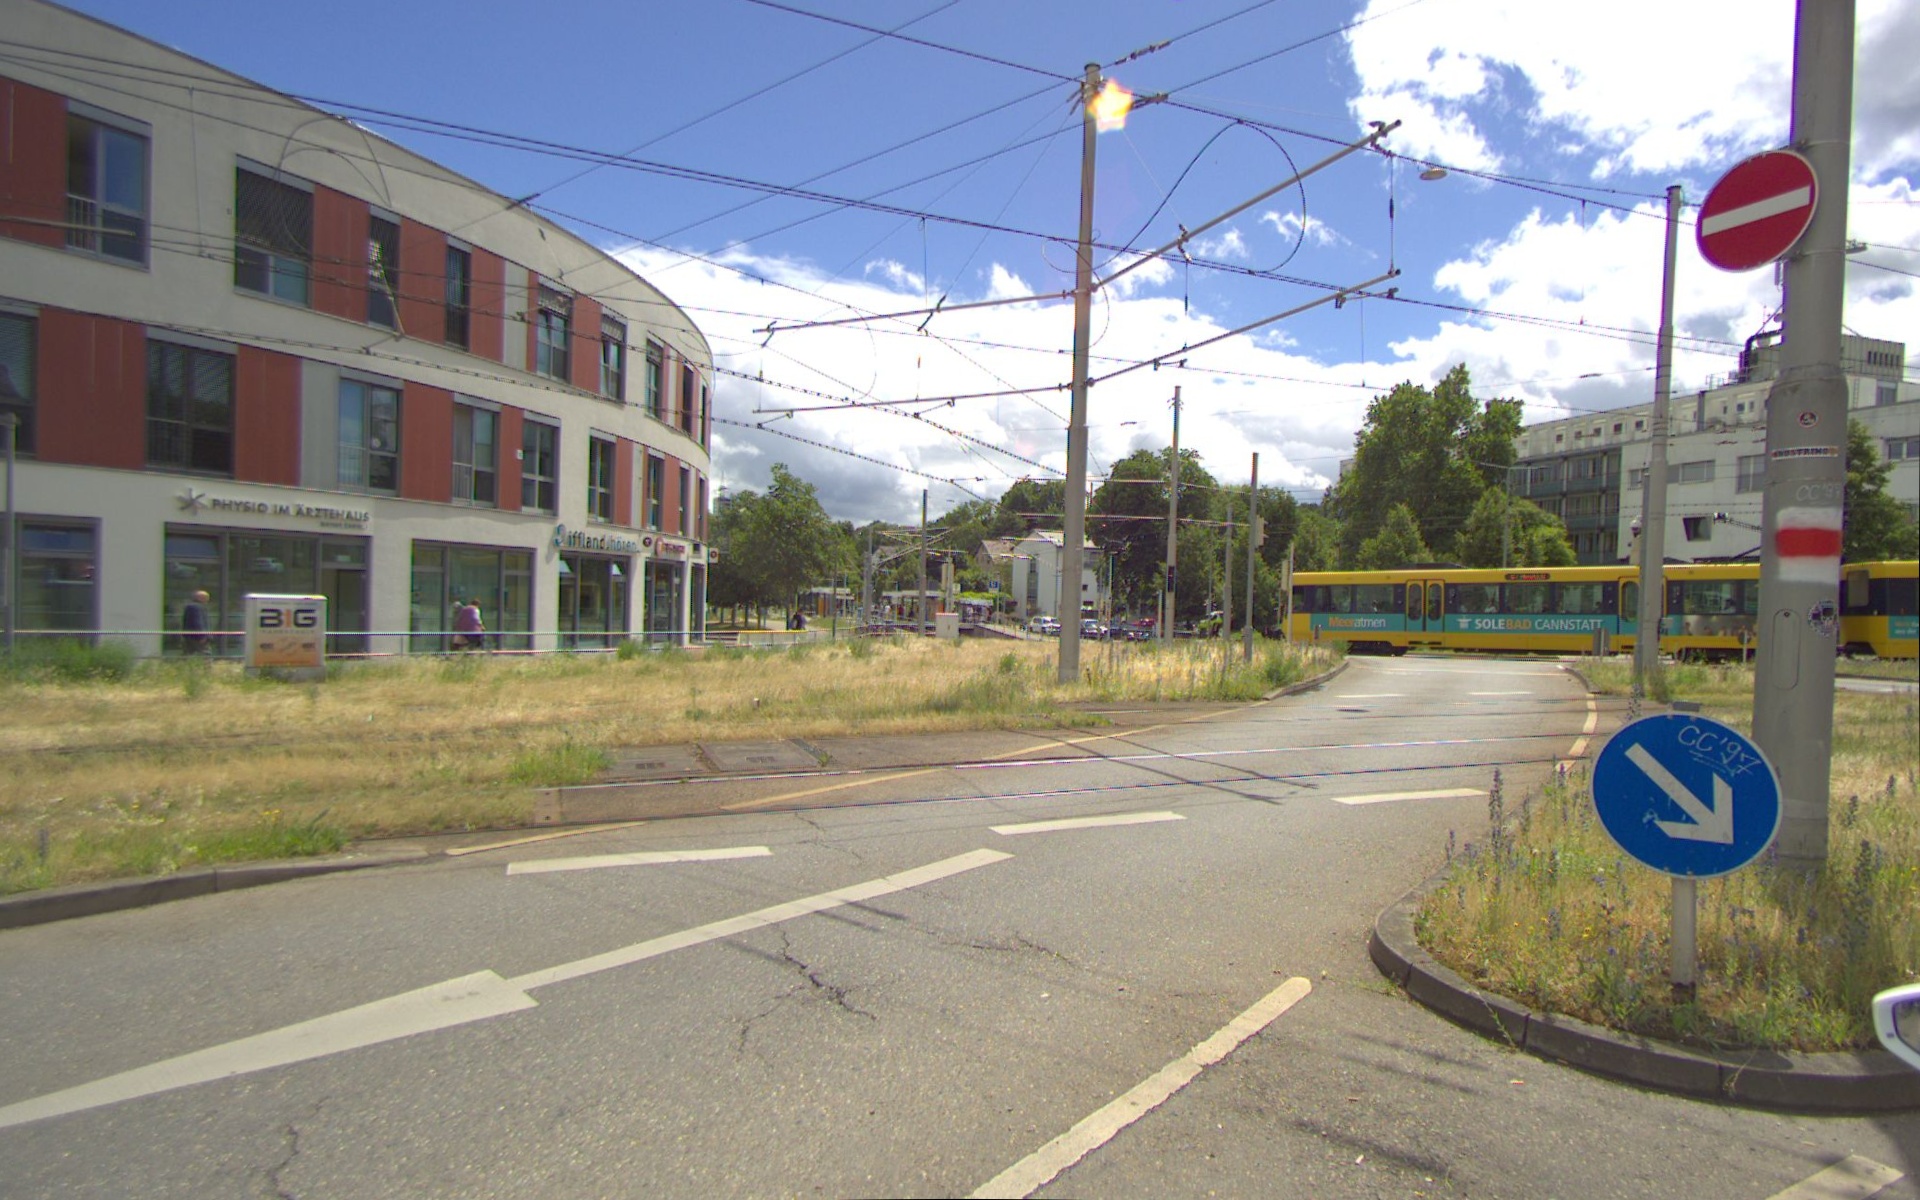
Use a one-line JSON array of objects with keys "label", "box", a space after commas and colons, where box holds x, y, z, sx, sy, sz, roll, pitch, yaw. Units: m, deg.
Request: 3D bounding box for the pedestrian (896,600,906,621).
[{"label": "pedestrian", "box": [-5.862, 1.035, 99.807, 0.807, 2.040, 0.771, 2, -1, -15]}]

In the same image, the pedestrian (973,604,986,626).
[{"label": "pedestrian", "box": [1.597, 1.226, 81.085, 0.824, 1.755, 0.795, 1, 0, -16]}]

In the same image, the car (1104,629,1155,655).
[{"label": "car", "box": [12.466, 3.067, 74.077, 1.991, 1.814, 4.222, 2, -1, -18]}]

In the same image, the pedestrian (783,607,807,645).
[{"label": "pedestrian", "box": [-7.382, 1.174, 45.006, 0.847, 1.646, 0.733, 1, -1, 7]}]

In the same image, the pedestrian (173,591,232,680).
[{"label": "pedestrian", "box": [-14.125, 0.651, 18.737, 0.723, 1.601, 0.689, 0, -1, 37]}]

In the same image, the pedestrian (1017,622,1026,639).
[{"label": "pedestrian", "box": [7.251, 3.555, 117.775, 0.818, 1.891, 0.817, 1, 0, -16]}]

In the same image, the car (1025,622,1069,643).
[{"label": "car", "box": [6.912, 2.588, 80.393, 1.908, 1.575, 4.474, 2, -2, -18]}]

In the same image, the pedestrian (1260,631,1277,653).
[{"label": "pedestrian", "box": [23.110, 3.170, 75.275, 0.830, 1.597, 0.811, 1, 0, -24]}]

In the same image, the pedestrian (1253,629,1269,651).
[{"label": "pedestrian", "box": [22.486, 2.971, 75.038, 0.830, 1.597, 0.811, 1, 0, -24]}]

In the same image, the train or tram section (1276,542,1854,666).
[{"label": "train or tram section", "box": [22.151, 0.158, 39.114, 18.588, 3.970, 3.749, 0, -2, 36]}]

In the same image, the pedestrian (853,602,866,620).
[{"label": "pedestrian", "box": [-11.824, 1.289, 117.996, 1.241, 2.040, 1.121, 2, -1, -19]}]

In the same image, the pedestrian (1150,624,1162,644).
[{"label": "pedestrian", "box": [18.272, 3.156, 93.585, 0.818, 1.891, 0.817, 1, 0, -16]}]

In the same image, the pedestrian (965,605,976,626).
[{"label": "pedestrian", "box": [0.844, 1.272, 82.527, 0.744, 1.707, 0.671, 1, 0, -16]}]

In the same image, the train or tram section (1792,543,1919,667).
[{"label": "train or tram section", "box": [38.497, 0.349, 31.199, 19.742, 3.880, 3.764, 1, -1, 15]}]

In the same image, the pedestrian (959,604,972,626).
[{"label": "pedestrian", "box": [0.425, 1.206, 81.796, 0.824, 1.777, 0.795, 1, 0, -16]}]

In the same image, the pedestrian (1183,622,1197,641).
[{"label": "pedestrian", "box": [19.457, 2.643, 84.991, 0.830, 1.597, 0.811, 1, 0, -24]}]

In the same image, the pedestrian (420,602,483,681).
[{"label": "pedestrian", "box": [-13.216, 1.080, 26.123, 0.849, 1.994, 1.114, 1, -1, 29]}]

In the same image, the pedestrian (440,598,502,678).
[{"label": "pedestrian", "box": [-12.515, 0.975, 25.723, 0.849, 1.994, 1.104, 1, -1, 30]}]

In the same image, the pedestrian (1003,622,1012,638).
[{"label": "pedestrian", "box": [5.550, 3.497, 117.226, 0.818, 1.891, 0.817, 1, 0, -16]}]

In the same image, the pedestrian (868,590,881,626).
[{"label": "pedestrian", "box": [-14.738, 1.377, 173.267, 1.964, 5.998, 2.368, 1, -1, -9]}]

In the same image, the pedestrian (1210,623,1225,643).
[{"label": "pedestrian", "box": [21.298, 2.711, 83.013, 0.830, 1.597, 0.811, 1, 0, -24]}]

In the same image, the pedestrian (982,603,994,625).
[{"label": "pedestrian", "box": [2.205, 1.121, 79.714, 0.824, 1.714, 0.616, 1, 0, -16]}]

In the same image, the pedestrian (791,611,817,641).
[{"label": "pedestrian", "box": [-8.567, 1.426, 55.191, 1.021, 1.646, 0.979, 0, -2, 44]}]

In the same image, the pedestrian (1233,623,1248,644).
[{"label": "pedestrian", "box": [21.974, 2.609, 78.679, 0.830, 1.597, 0.811, 1, 0, -24]}]

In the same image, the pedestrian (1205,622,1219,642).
[{"label": "pedestrian", "box": [20.743, 2.653, 82.703, 0.830, 1.597, 0.811, 1, 0, -24]}]

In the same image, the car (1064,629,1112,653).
[{"label": "car", "box": [9.384, 2.992, 74.069, 1.889, 1.672, 4.238, 2, -2, -18]}]

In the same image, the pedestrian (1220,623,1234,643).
[{"label": "pedestrian", "box": [21.535, 2.664, 81.025, 0.830, 1.597, 0.811, 1, 0, -24]}]

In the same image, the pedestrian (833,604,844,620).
[{"label": "pedestrian", "box": [-15.901, 1.561, 131.553, 1.241, 2.040, 1.121, 2, -1, -19]}]

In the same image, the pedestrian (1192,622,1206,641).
[{"label": "pedestrian", "box": [20.338, 2.681, 85.595, 0.830, 1.597, 0.811, 1, 0, -24]}]

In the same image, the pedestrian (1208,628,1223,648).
[{"label": "pedestrian", "box": [20.540, 3.030, 80.851, 0.830, 1.597, 0.811, 1, 0, -24]}]
